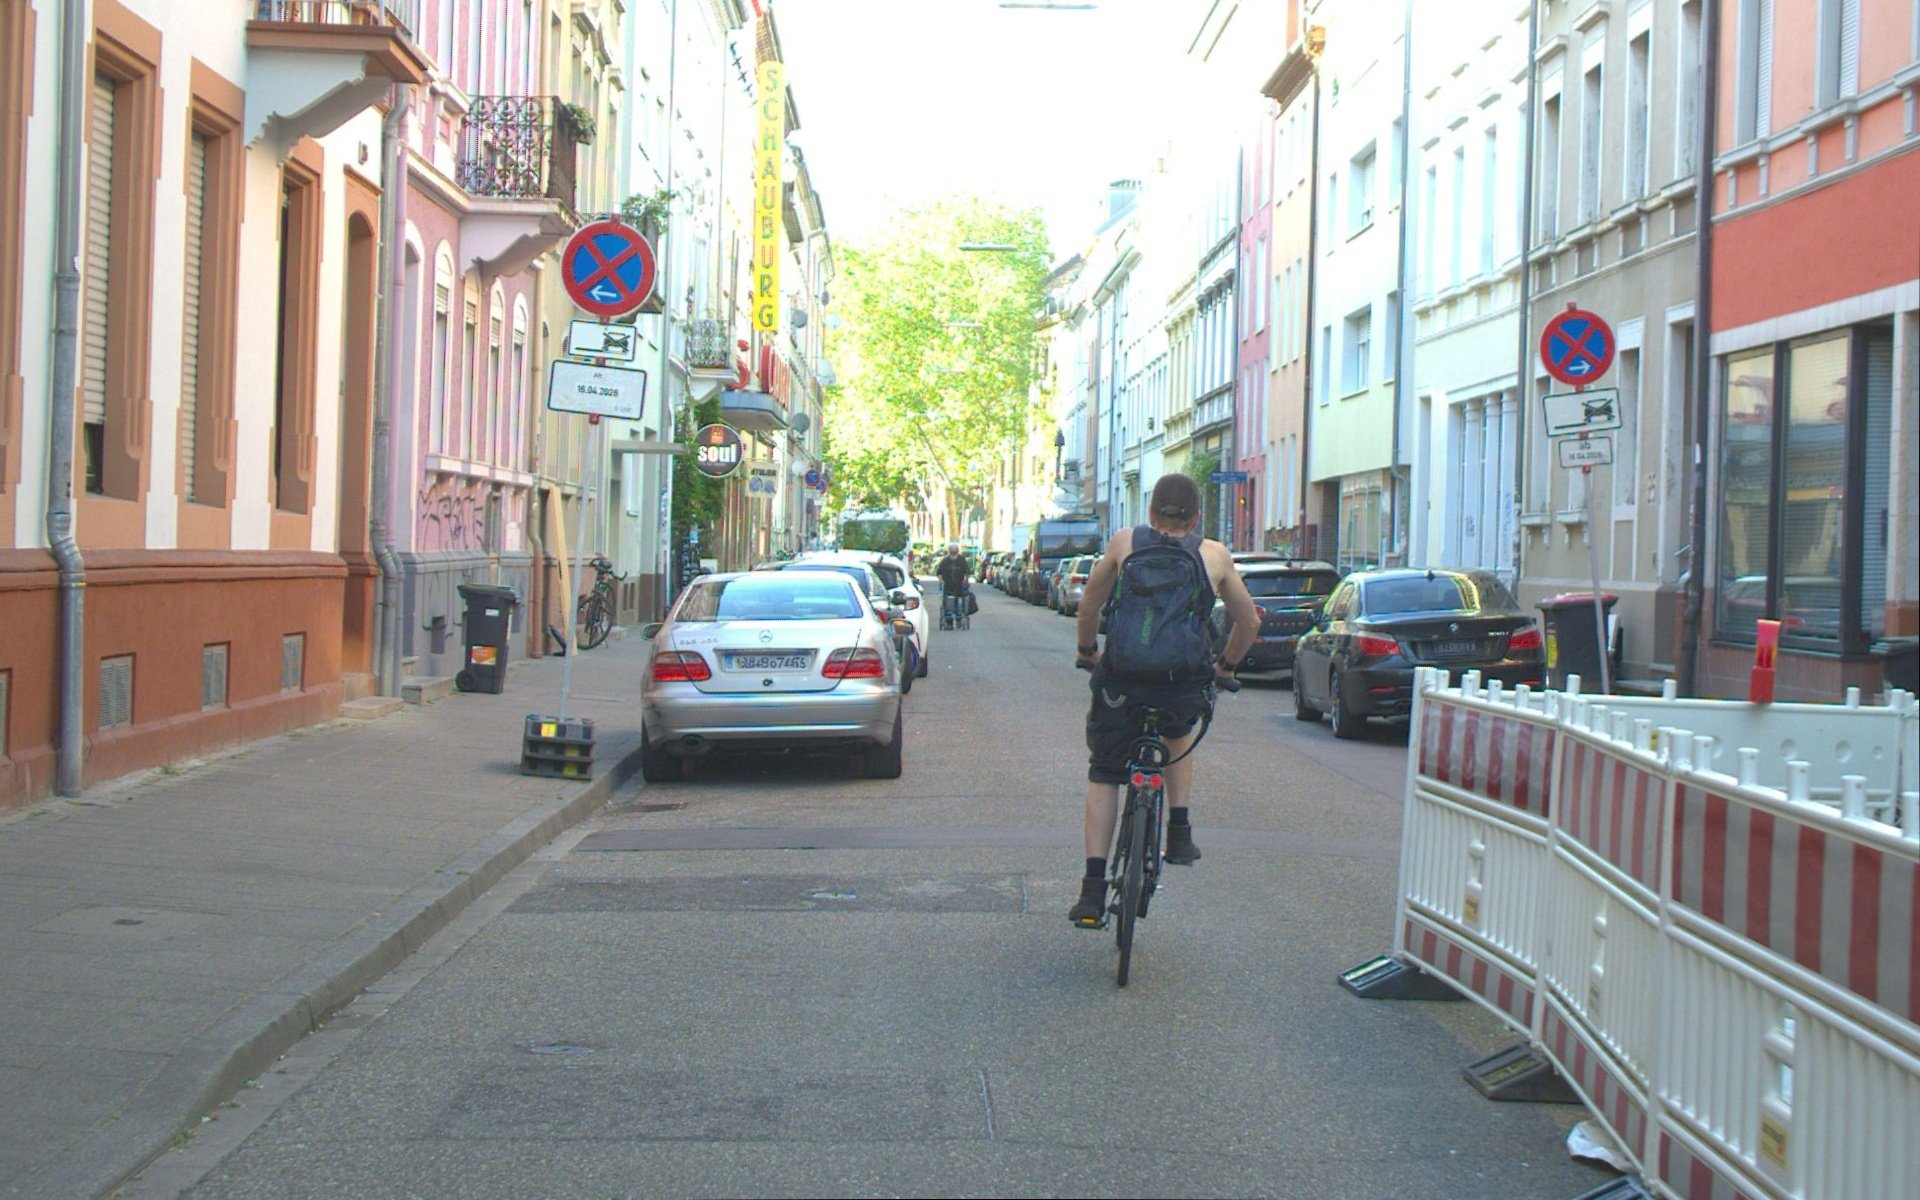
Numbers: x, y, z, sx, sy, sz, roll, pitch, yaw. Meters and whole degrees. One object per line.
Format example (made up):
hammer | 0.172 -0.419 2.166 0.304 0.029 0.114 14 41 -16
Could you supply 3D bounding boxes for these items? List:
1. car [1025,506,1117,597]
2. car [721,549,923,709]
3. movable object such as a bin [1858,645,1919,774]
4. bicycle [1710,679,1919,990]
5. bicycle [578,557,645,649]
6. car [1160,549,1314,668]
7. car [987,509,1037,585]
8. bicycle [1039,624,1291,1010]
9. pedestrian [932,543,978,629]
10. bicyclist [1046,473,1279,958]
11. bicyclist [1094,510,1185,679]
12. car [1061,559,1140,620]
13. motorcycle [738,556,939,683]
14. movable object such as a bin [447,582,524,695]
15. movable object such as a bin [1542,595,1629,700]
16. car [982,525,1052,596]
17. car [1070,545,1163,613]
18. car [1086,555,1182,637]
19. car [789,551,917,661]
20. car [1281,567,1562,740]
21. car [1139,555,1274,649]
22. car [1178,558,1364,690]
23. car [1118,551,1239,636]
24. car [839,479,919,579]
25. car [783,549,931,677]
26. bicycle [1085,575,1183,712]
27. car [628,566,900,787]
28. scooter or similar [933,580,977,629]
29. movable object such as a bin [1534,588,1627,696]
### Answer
car | 3.182 -1.388 100.050 2.307 2.529 6.770 0 0 -1
car | -1.320 0.239 34.467 1.710 1.378 4.356 2 2 1
movable object such as a bin | 6.870 0.783 24.794 0.597 0.903 0.579 -1 0 -2
bicycle | 3.894 0.908 13.133 1.849 1.106 0.644 3 0 -7
bicycle | -4.320 0.032 42.759 0.592 1.085 2.079 3 0 -1
car | 3.764 0.093 47.252 1.710 1.551 4.000 0 0 -1
car | 2.592 -2.647 172.875 2.307 3.755 6.770 0 0 -1
bicycle | 0.694 0.715 12.374 0.702 1.204 2.342 2 0 -1
pedestrian | -0.096 -0.271 64.598 0.770 1.573 0.900 3 0 -2
bicyclist | 0.699 0.388 12.203 0.702 1.627 1.090 2 0 -1
bicyclist | 1.782 -0.061 34.270 0.702 1.599 0.813 5 2 -1
car | 3.421 -0.269 84.313 1.710 1.442 4.000 0 0 -1
motorcycle | -1.353 0.205 38.383 2.146 1.354 0.540 -1 2 -18
movable object such as a bin | -4.077 0.326 29.560 0.543 0.941 0.487 3 0 0
movable object such as a bin | 6.550 0.494 36.010 0.807 1.072 0.677 -1 0 4
car | 2.038 -1.429 125.492 2.307 2.529 6.770 0 0 -1
car | 3.299 -0.446 72.932 1.710 1.389 4.000 0 0 -1
car | 3.393 -0.089 67.577 1.620 1.545 4.000 0 0 -1
car | -1.438 0.061 47.049 1.672 1.437 3.768 0 0 -1
car | 4.086 0.429 31.166 1.817 1.433 4.791 0 0 -1
car | 3.729 0.017 52.587 1.710 1.378 4.000 0 0 -1
car | 3.723 0.262 41.739 1.817 1.516 4.000 0 0 -1
car | 3.651 -0.122 57.905 1.710 1.378 4.000 0 0 -1
car | -2.108 -1.821 88.677 1.909 2.488 4.166 1 1 -3
car | -1.205 0.133 41.146 1.672 1.437 4.165 0 0 -1
bicycle | 1.727 0.416 34.421 0.702 1.203 2.342 5 2 -1
car | -1.275 0.465 23.952 1.710 1.378 4.506 0 0 -1
scooter or similar | -0.095 0.074 64.164 0.770 0.870 0.771 3 0 -2
movable object such as a bin | 6.291 0.420 34.888 0.736 1.072 0.677 -1 0 -7
